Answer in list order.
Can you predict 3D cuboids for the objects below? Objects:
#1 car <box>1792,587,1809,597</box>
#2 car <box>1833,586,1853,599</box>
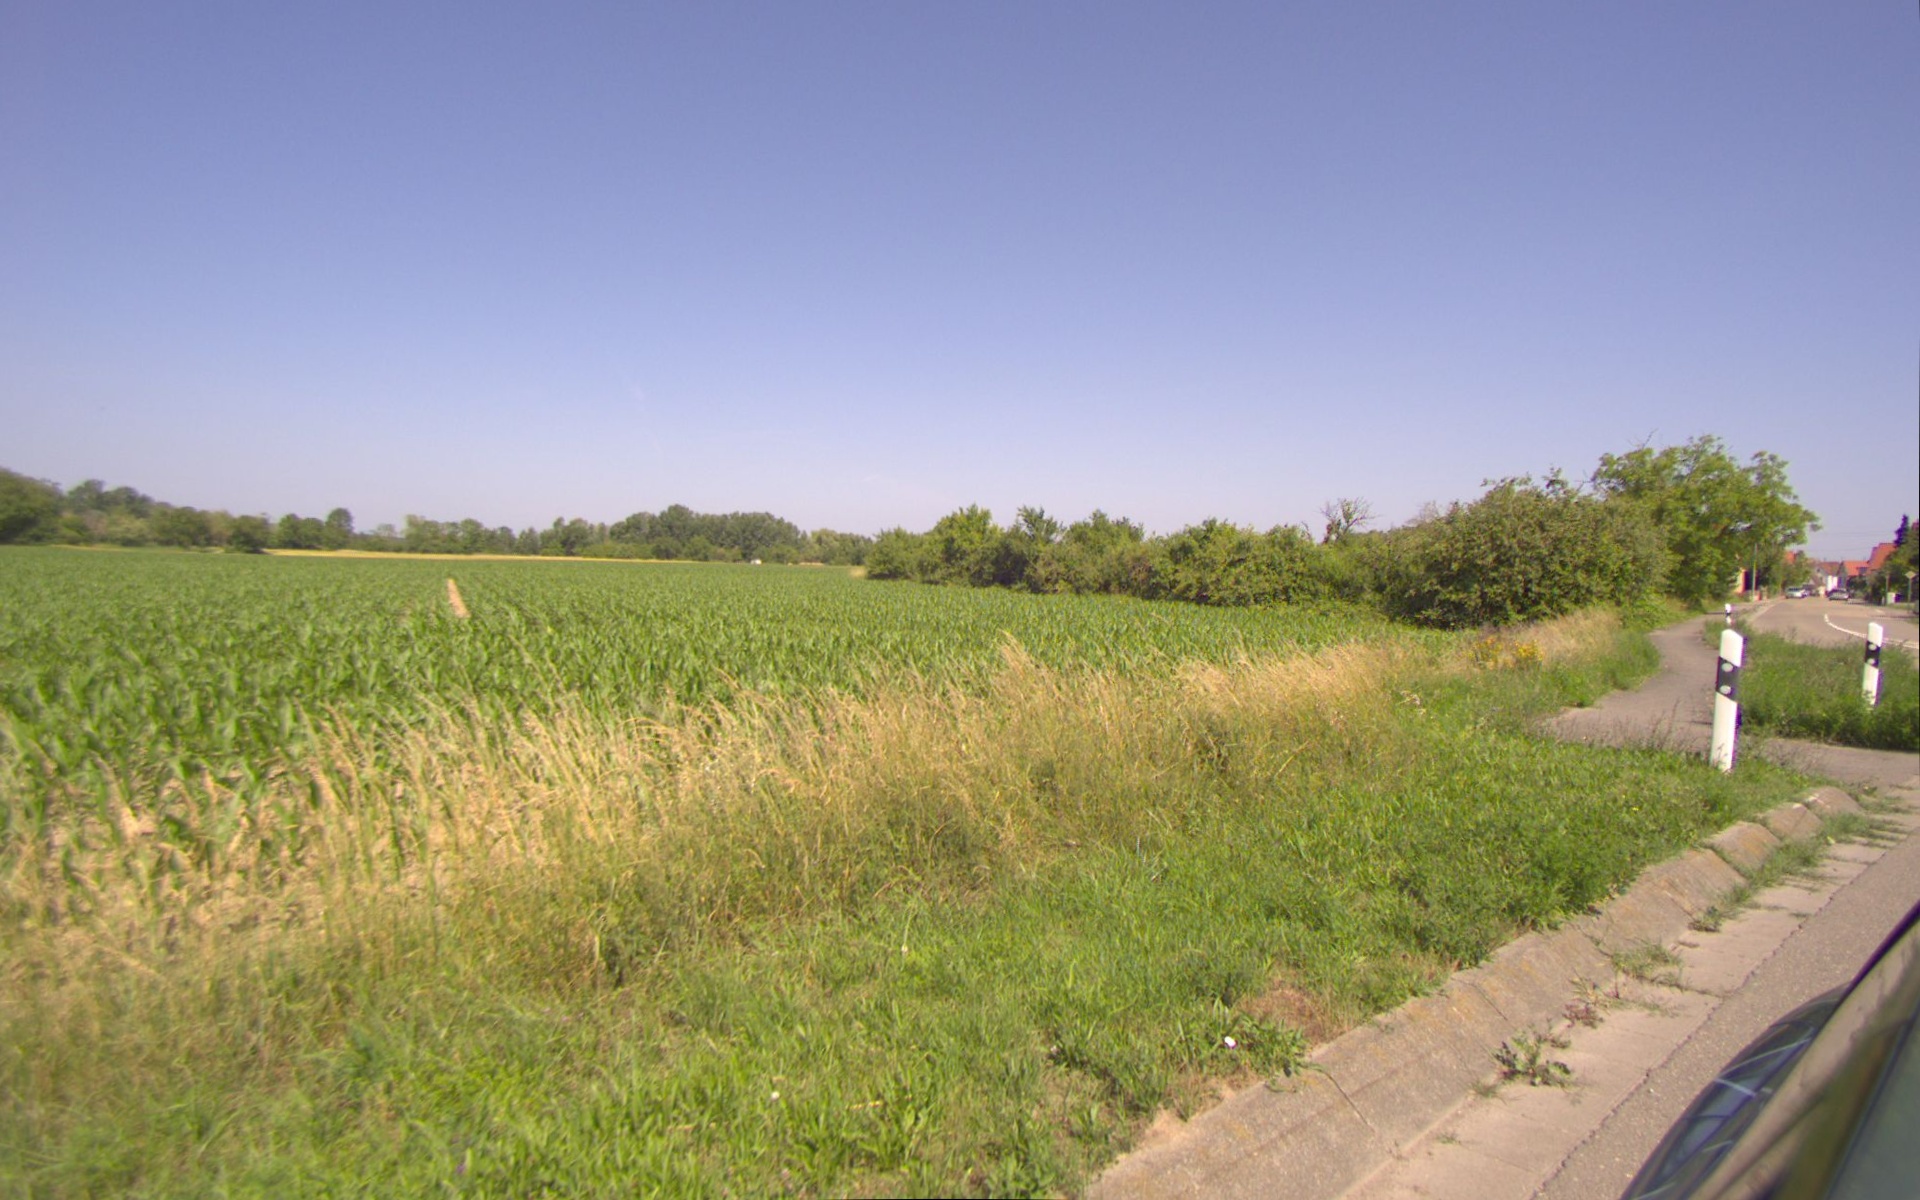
[{"bbox_3d":[116.737,-1.117,140.604,1.727,1.405,3.480,3,3,41],"label":"car"},{"bbox_3d":[107.710,-0.914,123.436,1.727,1.405,3.480,3,3,41],"label":"car"}]
